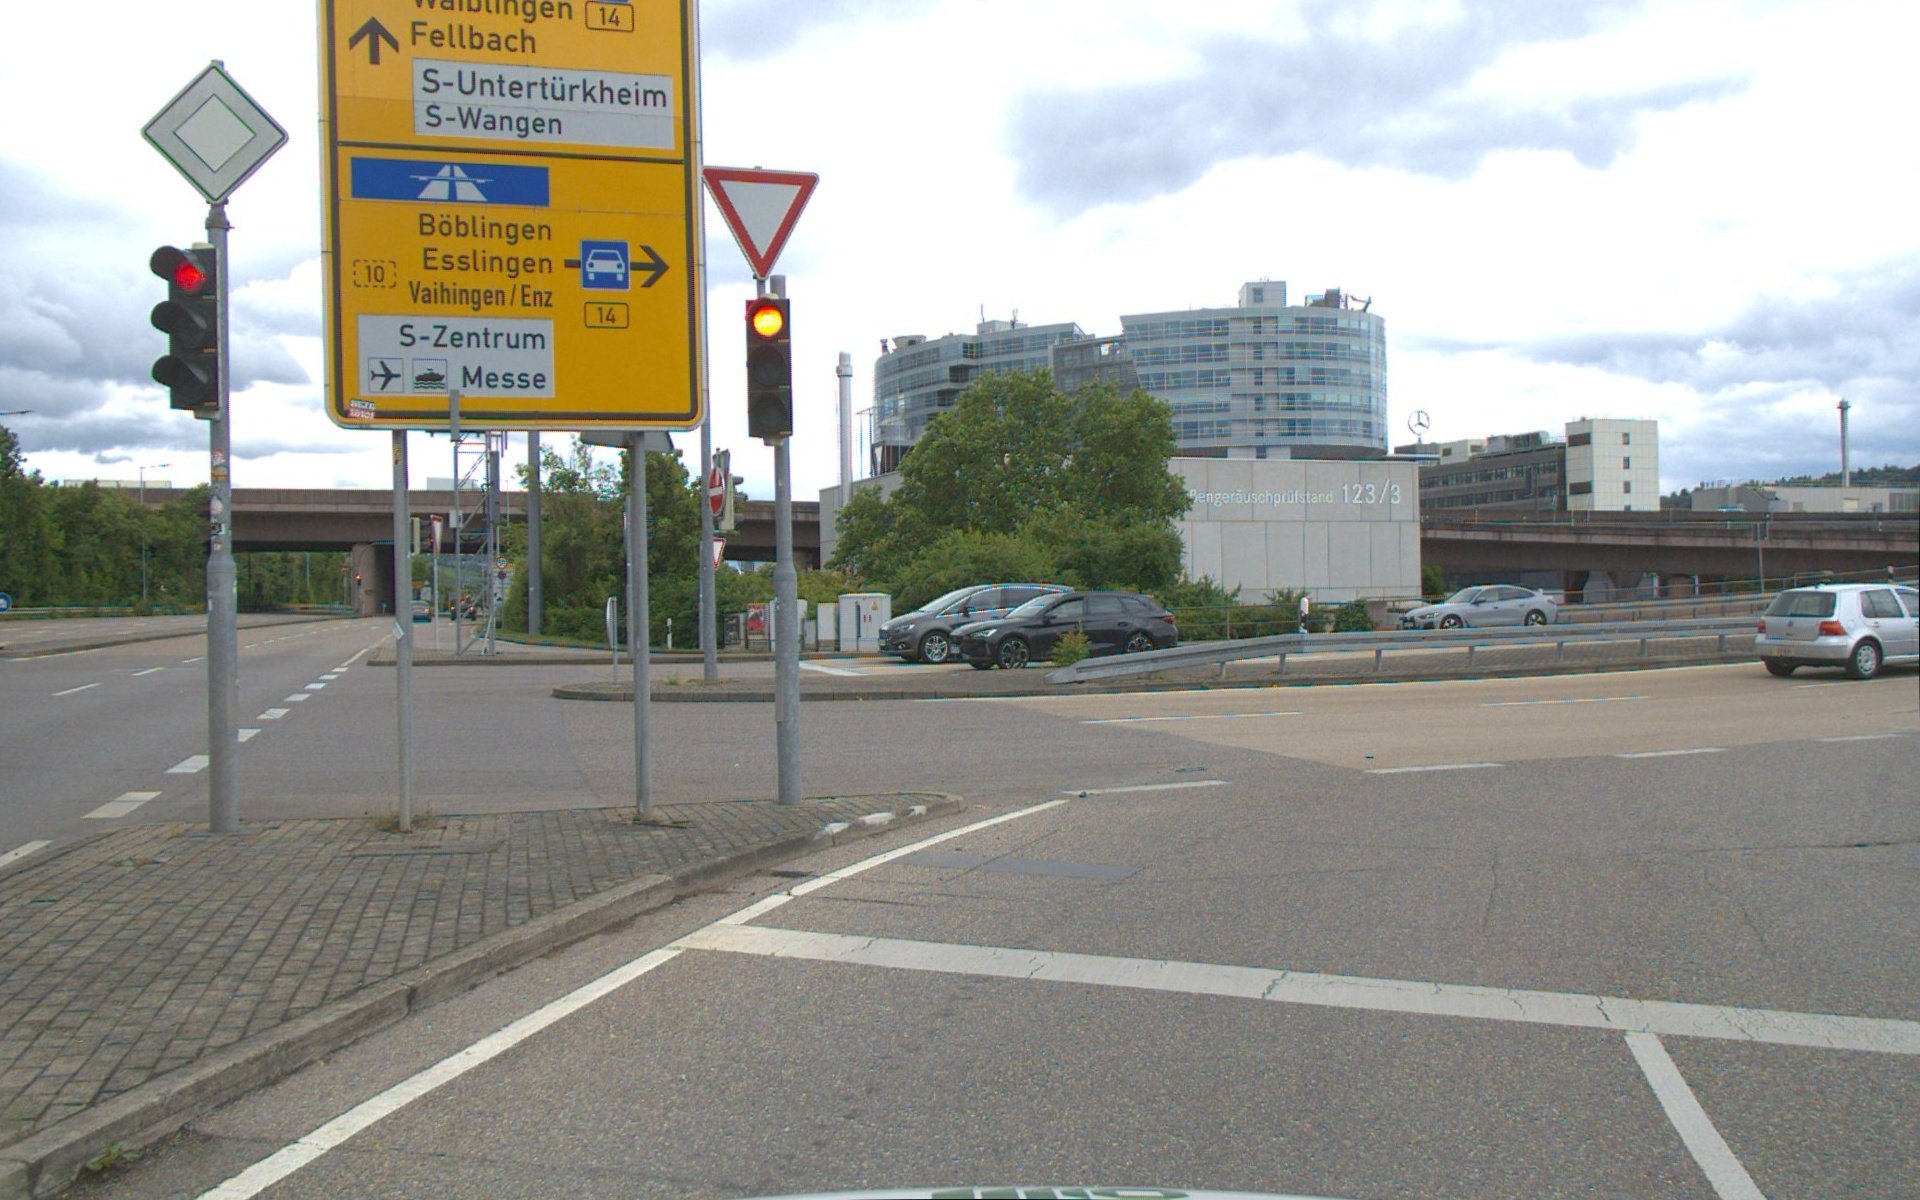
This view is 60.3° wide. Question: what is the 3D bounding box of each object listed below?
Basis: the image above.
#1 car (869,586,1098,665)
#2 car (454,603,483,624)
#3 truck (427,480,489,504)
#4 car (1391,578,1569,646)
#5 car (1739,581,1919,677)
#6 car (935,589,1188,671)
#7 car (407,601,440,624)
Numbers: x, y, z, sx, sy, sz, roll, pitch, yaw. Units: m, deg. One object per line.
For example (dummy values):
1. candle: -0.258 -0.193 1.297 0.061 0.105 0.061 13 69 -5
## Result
1. car: 0.496 0.523 35.851 4.607 1.599 1.945 0 1 -19
2. car: -36.952 1.006 124.368 1.961 1.490 4.092 1 -2 -15
3. truck: -49.651 -10.667 163.601 5.507 2.201 2.000 1 0 -1
4. car: 15.149 0.351 48.219 4.655 1.691 1.907 3 0 -16
5. car: 14.689 0.415 26.598 3.998 1.425 1.718 -1 1 -23
6. car: 1.956 0.551 32.126 4.537 1.482 1.945 0 1 -20
7. car: -36.203 0.849 111.646 1.961 1.467 4.091 1 -2 -16
